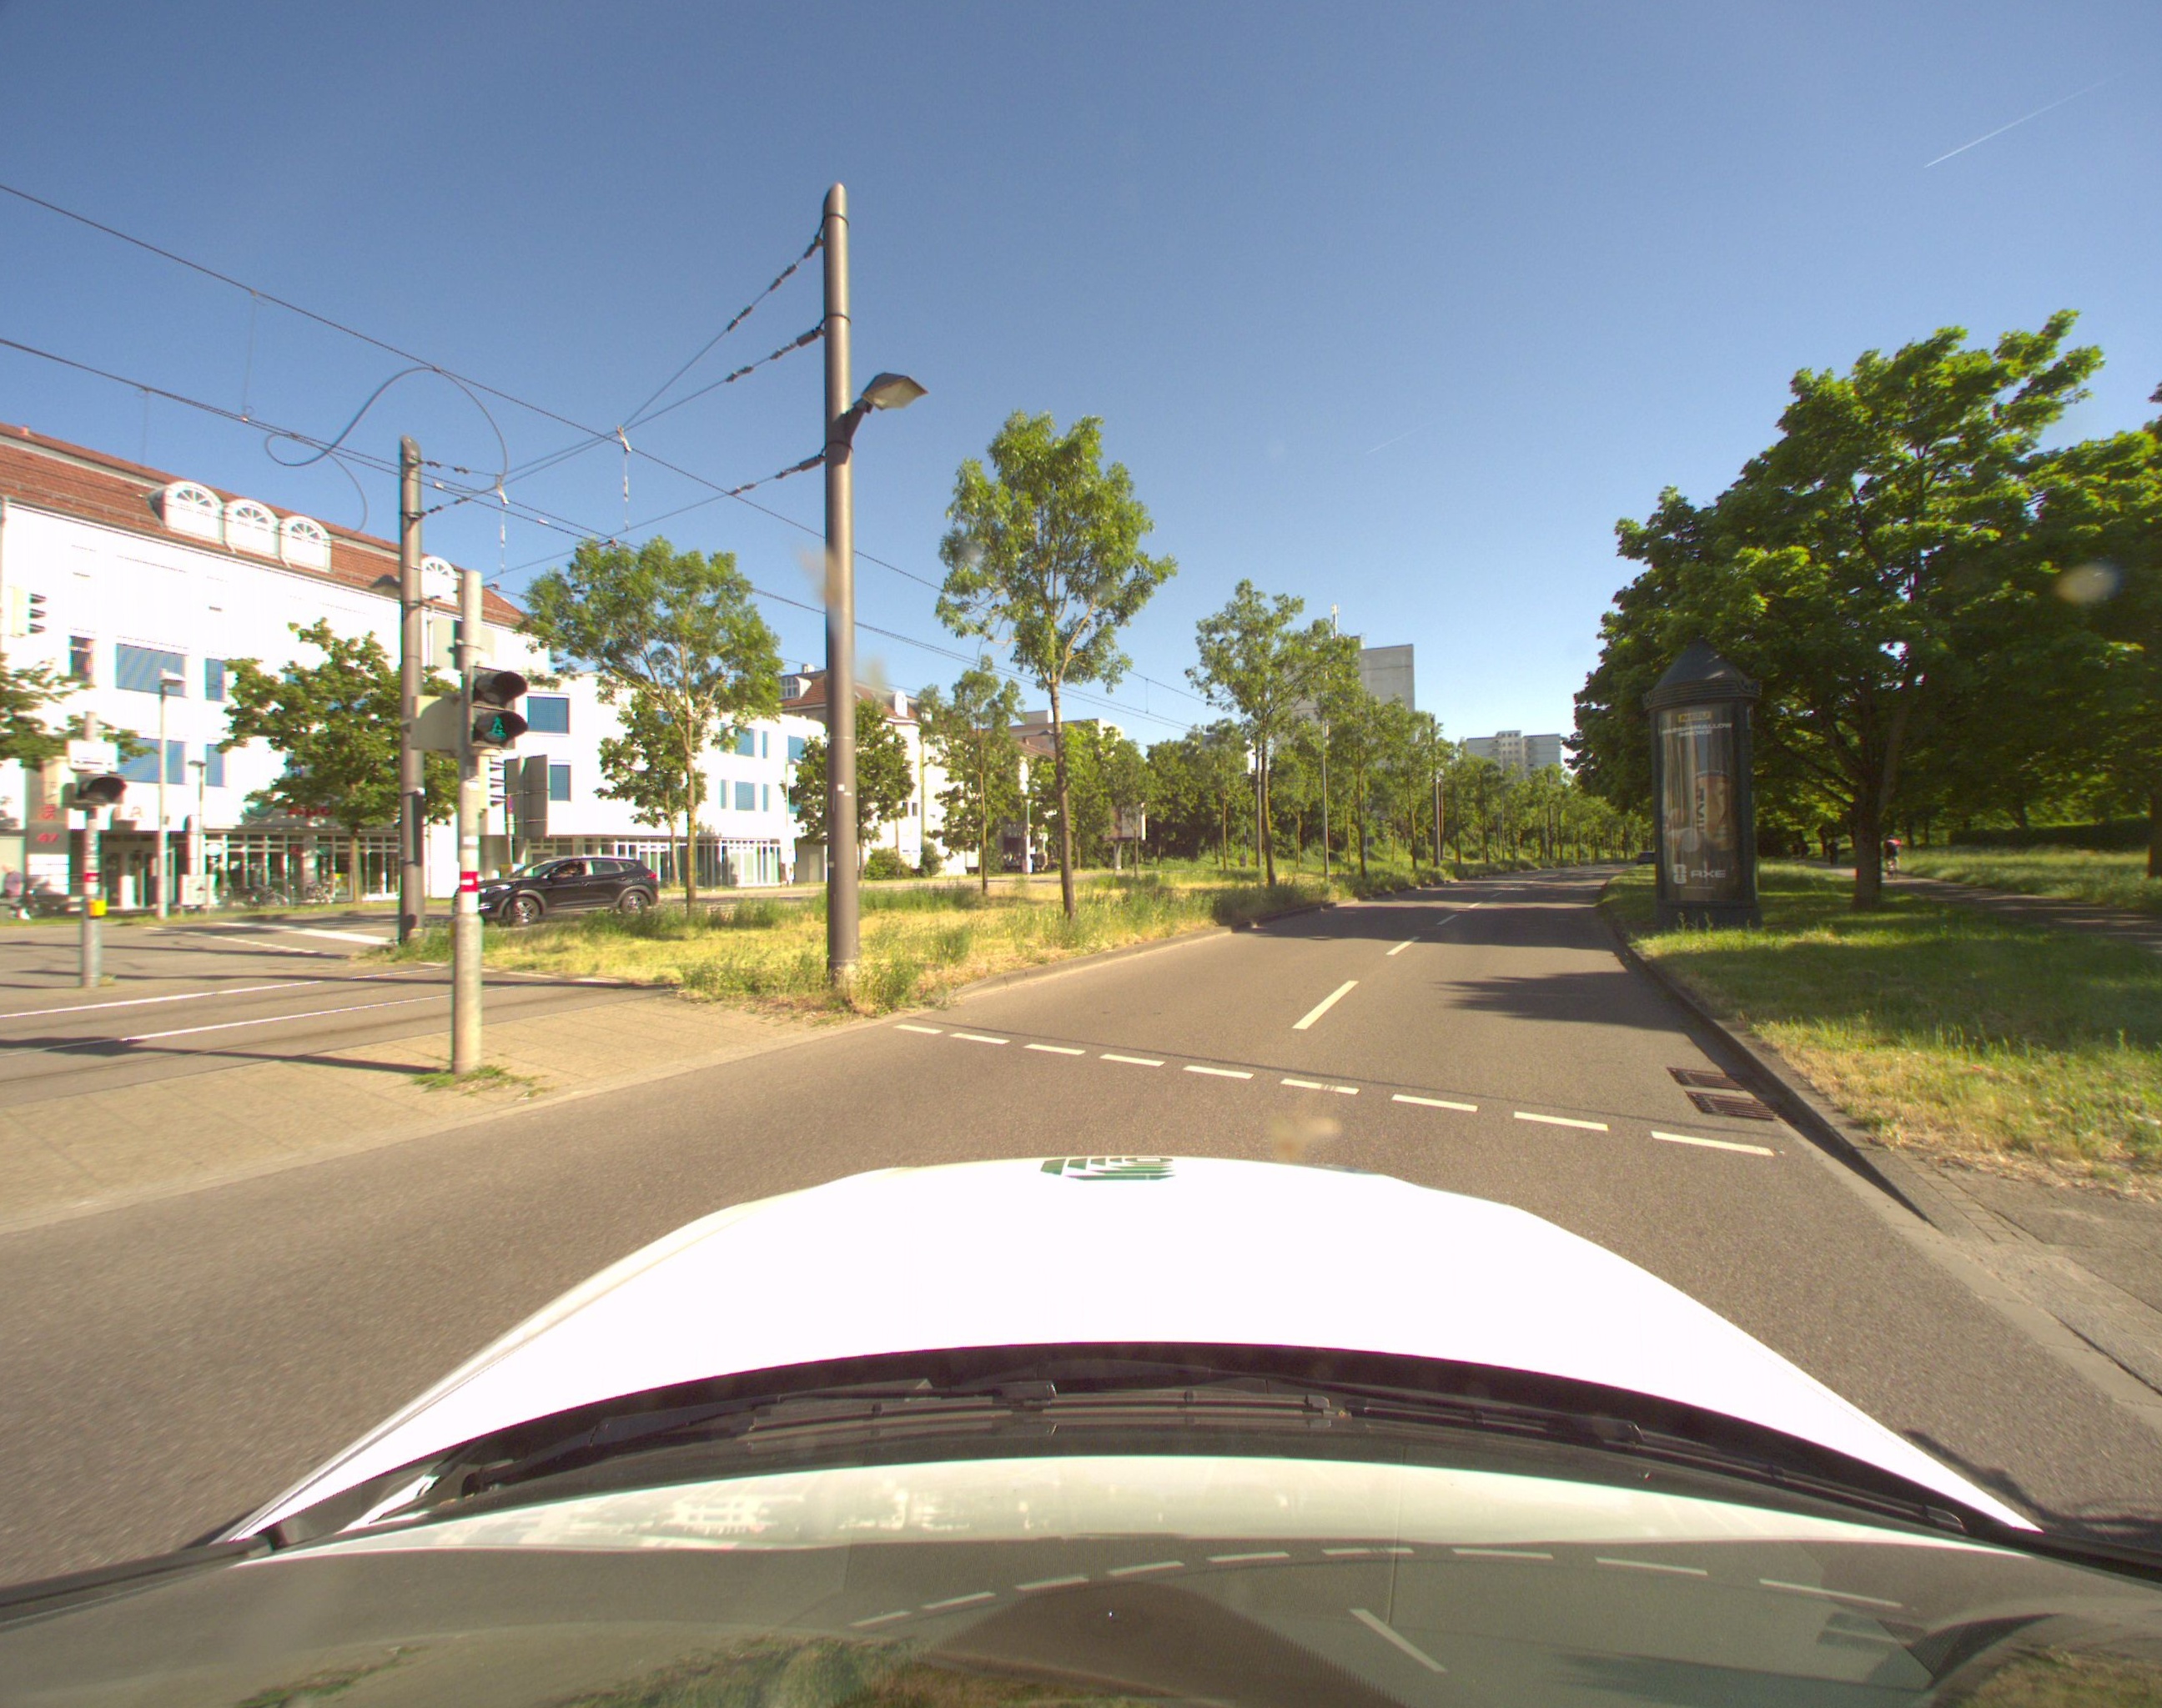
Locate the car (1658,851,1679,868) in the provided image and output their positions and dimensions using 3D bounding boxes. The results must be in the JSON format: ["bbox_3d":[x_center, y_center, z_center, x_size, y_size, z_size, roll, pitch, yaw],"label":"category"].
[{"bbox_3d":[60.823,0.554,84.318,1.671,1.578,3.895,-2,-3,36],"label":"car"}]

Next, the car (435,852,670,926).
[{"bbox_3d":[-13.132,0.801,20.550,1.974,1.609,4.544,-1,0,32],"label":"car"}]

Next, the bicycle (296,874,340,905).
[{"bbox_3d":[-29.820,1.376,31.823,1.847,1.182,0.565,-1,0,23],"label":"bicycle"}]

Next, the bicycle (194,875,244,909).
[{"bbox_3d":[-31.003,1.371,29.283,1.848,1.182,0.565,-1,0,20],"label":"bicycle"}]

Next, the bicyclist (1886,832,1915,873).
[{"bbox_3d":[32.031,-0.049,31.842,0.664,1.586,1.011,-1,0,38],"label":"bicyclist"}]

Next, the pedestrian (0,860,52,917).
[{"bbox_3d":[-33.292,1.074,25.606,0.646,1.723,0.998,-1,0,21],"label":"pedestrian"}]

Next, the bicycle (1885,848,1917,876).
[{"bbox_3d":[32.053,0.315,31.852,0.664,1.055,1.823,-1,0,38],"label":"bicycle"}]

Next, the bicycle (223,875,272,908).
[{"bbox_3d":[-30.935,1.393,30.234,1.848,1.182,0.565,-1,0,20],"label":"bicycle"}]

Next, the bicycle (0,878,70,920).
[{"bbox_3d":[-31.816,1.349,24.369,0.556,1.182,1.879,-1,0,19],"label":"bicycle"}]

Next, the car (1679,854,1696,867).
[{"bbox_3d":[83.703,0.912,112.365,1.671,1.578,3.895,-3,-3,37],"label":"car"}]

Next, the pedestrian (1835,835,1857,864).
[{"bbox_3d":[46.045,-0.287,49.029,0.730,1.726,0.894,-1,0,26],"label":"pedestrian"}]
